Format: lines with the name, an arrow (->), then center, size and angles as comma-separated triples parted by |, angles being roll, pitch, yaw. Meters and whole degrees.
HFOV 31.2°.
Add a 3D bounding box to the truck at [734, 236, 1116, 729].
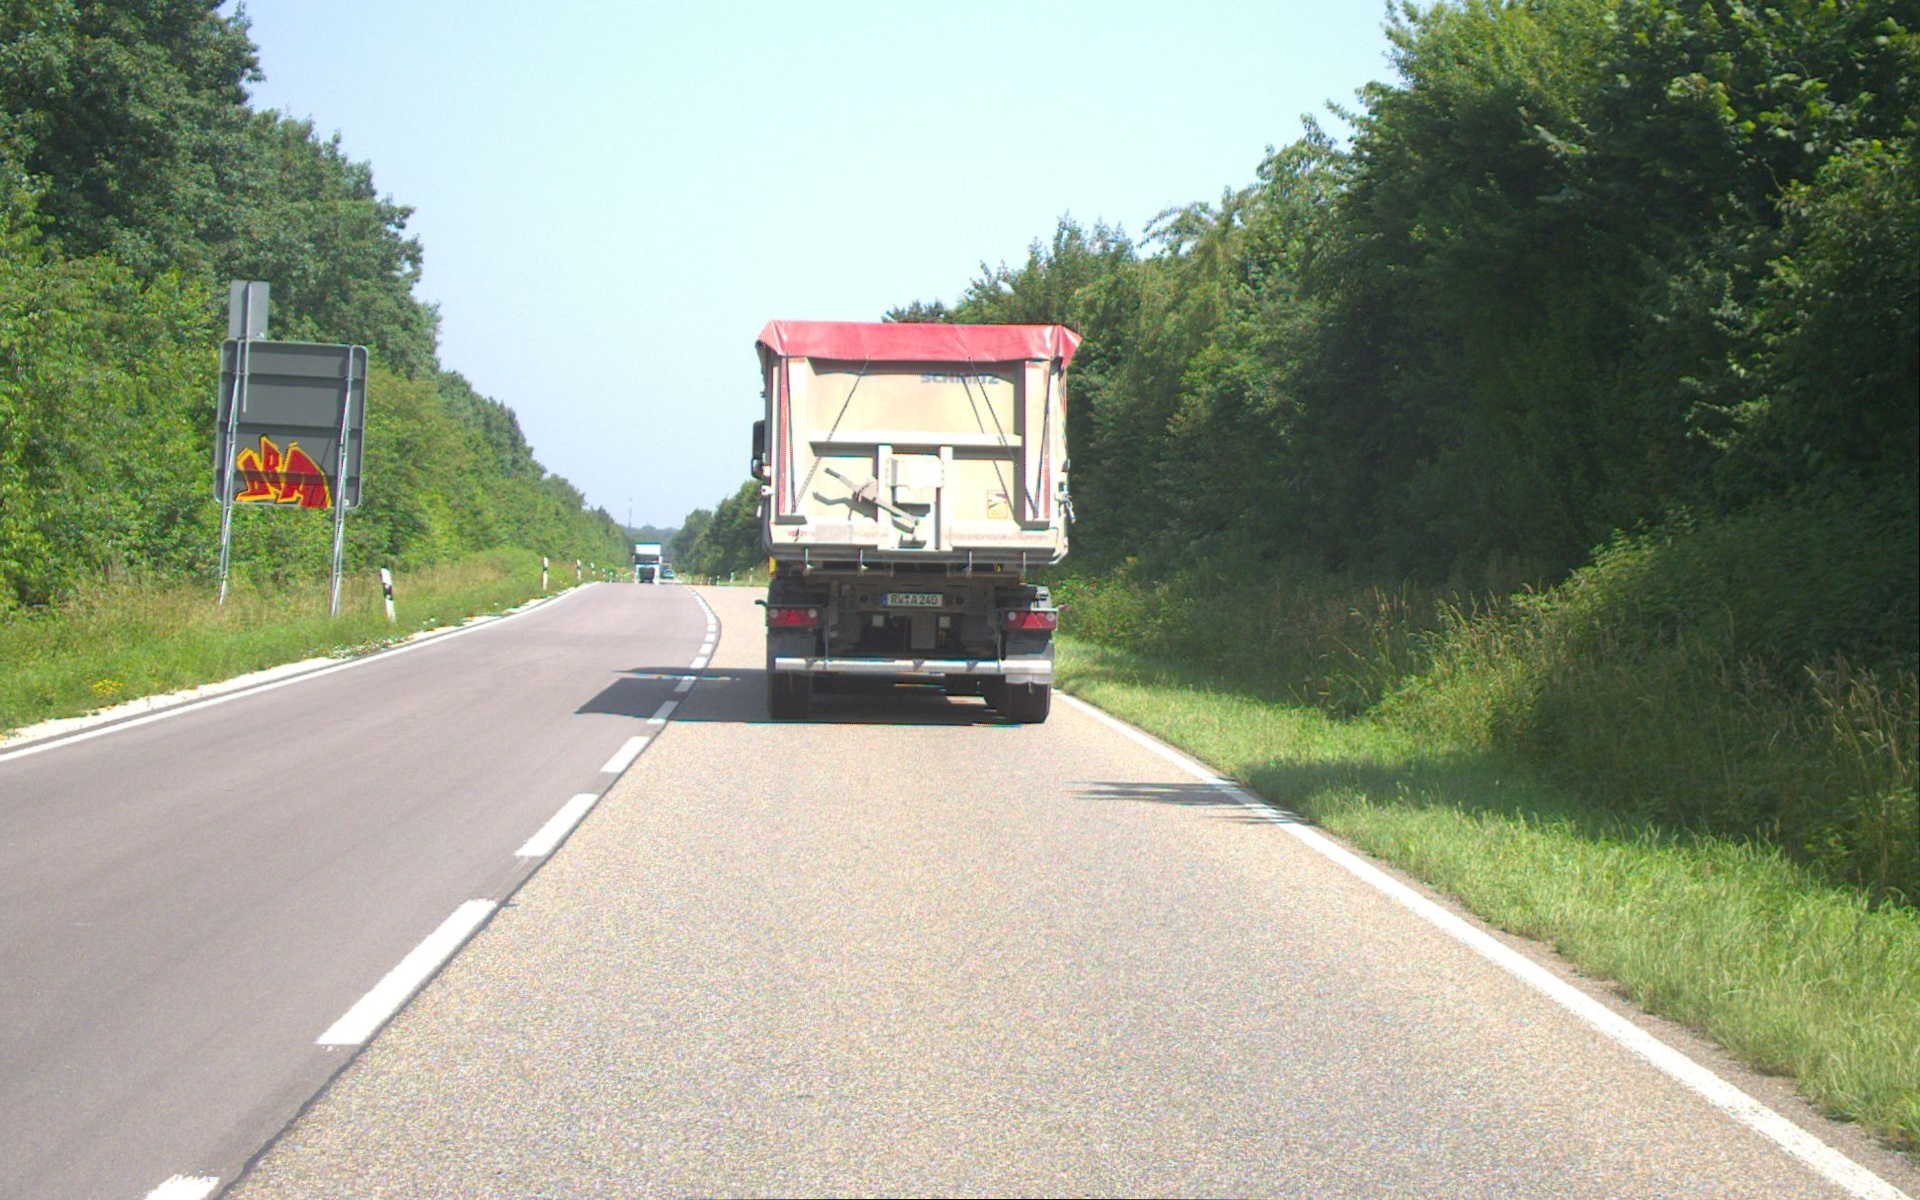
truck -> -0.673, -1.060, 33.946 | 2.893, 3.949, 11.935 | 1, 1, -4
